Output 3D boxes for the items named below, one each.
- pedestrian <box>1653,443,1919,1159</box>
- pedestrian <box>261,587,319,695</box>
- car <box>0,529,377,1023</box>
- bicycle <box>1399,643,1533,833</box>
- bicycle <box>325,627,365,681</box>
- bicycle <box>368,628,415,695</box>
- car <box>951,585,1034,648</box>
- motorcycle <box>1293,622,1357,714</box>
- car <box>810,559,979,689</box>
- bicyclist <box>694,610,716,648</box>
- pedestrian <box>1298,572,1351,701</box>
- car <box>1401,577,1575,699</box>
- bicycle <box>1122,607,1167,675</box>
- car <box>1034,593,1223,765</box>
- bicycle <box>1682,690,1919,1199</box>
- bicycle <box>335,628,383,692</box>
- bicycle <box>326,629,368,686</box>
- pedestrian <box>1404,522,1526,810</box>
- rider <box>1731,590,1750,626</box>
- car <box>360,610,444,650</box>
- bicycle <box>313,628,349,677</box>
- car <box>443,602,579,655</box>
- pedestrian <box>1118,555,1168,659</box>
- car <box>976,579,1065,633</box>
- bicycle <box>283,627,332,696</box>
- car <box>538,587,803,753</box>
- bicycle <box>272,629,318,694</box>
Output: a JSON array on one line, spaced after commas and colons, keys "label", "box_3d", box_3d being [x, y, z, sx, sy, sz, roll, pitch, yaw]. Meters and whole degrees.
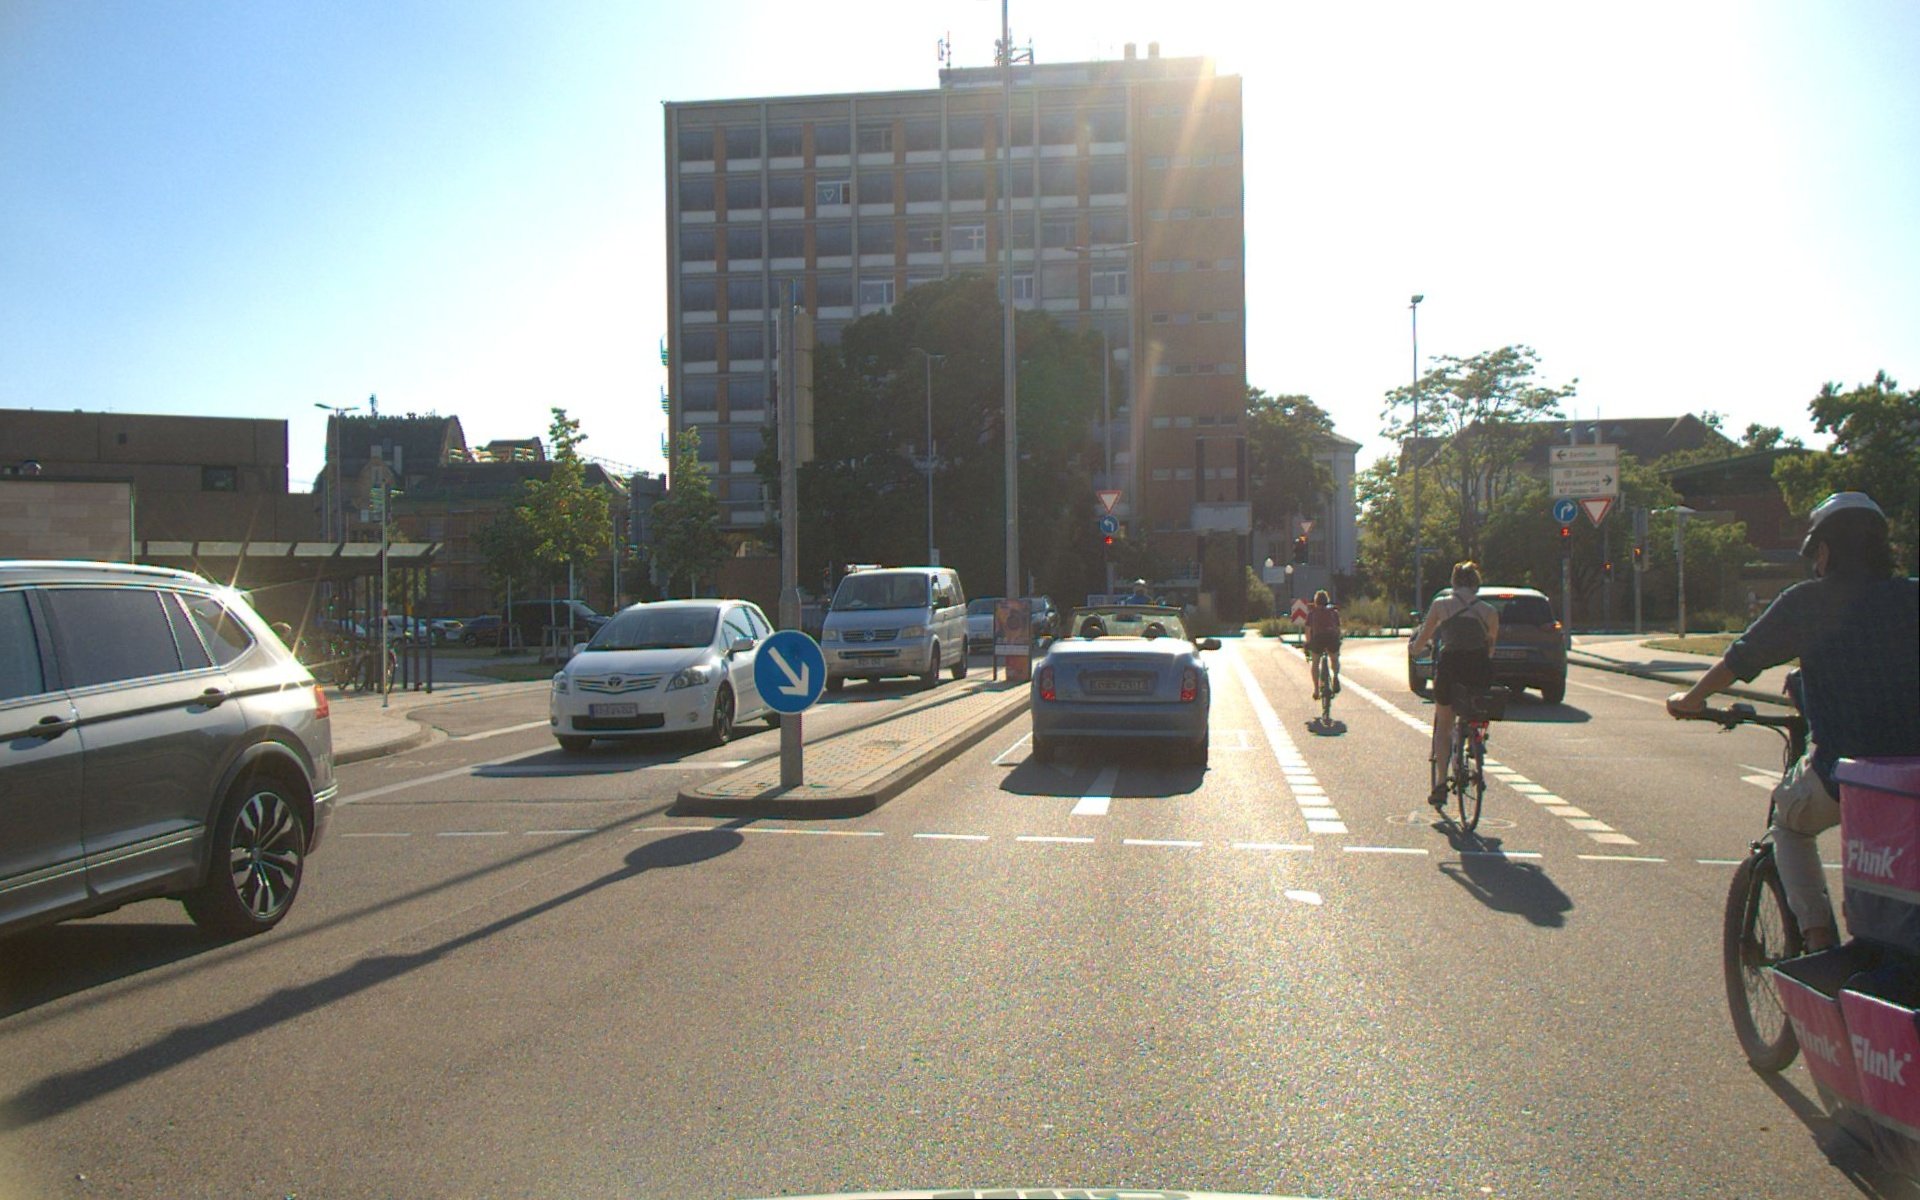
[{"label": "pedestrian", "box_3d": [2.618, 0.541, 4.888, 0.789, 1.902, 0.957, 1, -1, 5]}, {"label": "pedestrian", "box_3d": [-12.044, 0.731, 29.725, 0.890, 1.902, 0.681, 1, -1, -28]}, {"label": "car", "box_3d": [-4.195, 0.652, 6.331, 1.724, 1.735, 4.534, -2, 0, 8]}, {"label": "bicycle", "box_3d": [3.480, 0.902, 11.500, 0.552, 1.171, 1.951, 1, -1, 7]}, {"label": "bicycle", "box_3d": [-13.484, 1.179, 36.235, 0.599, 1.134, 1.880, 1, -1, -27]}, {"label": "bicycle", "box_3d": [-10.062, 1.073, 29.255, 0.599, 1.134, 1.882, 1, -1, -24]}, {"label": "car", "box_3d": [0.911, 0.414, 44.208, 1.761, 1.557, 4.003, -2, 0, 7]}, {"label": "motorcycle", "box_3d": [4.715, 0.857, 21.467, 0.600, 1.117, 2.362, 1, -1, 7]}, {"label": "car", "box_3d": [-1.015, 0.377, 28.347, 1.868, 1.979, 4.710, -3, 0, 10]}, {"label": "bicyclist", "box_3d": [-11.057, 1.265, 71.785, 0.735, 1.626, 0.590, 0, -1, 15]}, {"label": "pedestrian", "box_3d": [4.709, 0.464, 21.408, 0.575, 1.626, 1.025, 1, -1, 7]}, {"label": "car", "box_3d": [8.138, 0.576, 25.854, 1.792, 1.719, 4.371, 1, -1, 7]}, {"label": "bicycle", "box_3d": [3.453, 0.752, 30.862, 0.595, 1.212, 2.416, 1, -1, 12]}, {"label": "car", "box_3d": [1.699, 0.712, 16.446, 1.625, 1.466, 4.157, 1, -1, 7]}, {"label": "bicycle", "box_3d": [2.668, 0.899, 4.626, 0.542, 1.192, 2.374, 1, -1, 7]}, {"label": "bicycle", "box_3d": [-11.275, 1.108, 31.003, 0.599, 1.134, 1.880, 1, -1, -27]}, {"label": "bicycle", "box_3d": [-12.757, 1.186, 34.400, 0.599, 1.134, 1.880, 1, -1, -27]}, {"label": "pedestrian", "box_3d": [3.471, 0.443, 11.426, 0.645, 1.902, 0.873, 1, -1, 6]}, {"label": "rider", "box_3d": [35.780, 0.372, 75.819, 0.736, 1.626, 0.589, 0, -1, 20]}, {"label": "car", "box_3d": [-23.613, 1.268, 69.936, 3.528, 1.588, 1.639, -1, 0, 36]}, {"label": "bicycle", "box_3d": [-15.008, 1.245, 39.431, 0.599, 1.134, 1.880, 1, -1, -27]}, {"label": "car", "box_3d": [-18.008, 1.149, 66.339, 5.052, 1.927, 2.244, -2, 0, 27]}, {"label": "pedestrian", "box_3d": [3.396, 0.130, 30.665, 0.815, 1.902, 0.921, 1, -1, 12]}, {"label": "car", "box_3d": [1.953, 0.169, 51.920, 1.761, 1.557, 4.002, -2, 0, 17]}, {"label": "bicycle", "box_3d": [-11.297, 1.046, 28.598, 0.599, 1.134, 1.880, 1, -1, -27]}, {"label": "car", "box_3d": [-3.007, 0.684, 18.041, 1.658, 1.588, 3.983, -1, 0, 8]}, {"label": "bicycle", "box_3d": [-12.207, 1.118, 30.338, 0.599, 1.134, 1.880, 1, -1, -27]}]
